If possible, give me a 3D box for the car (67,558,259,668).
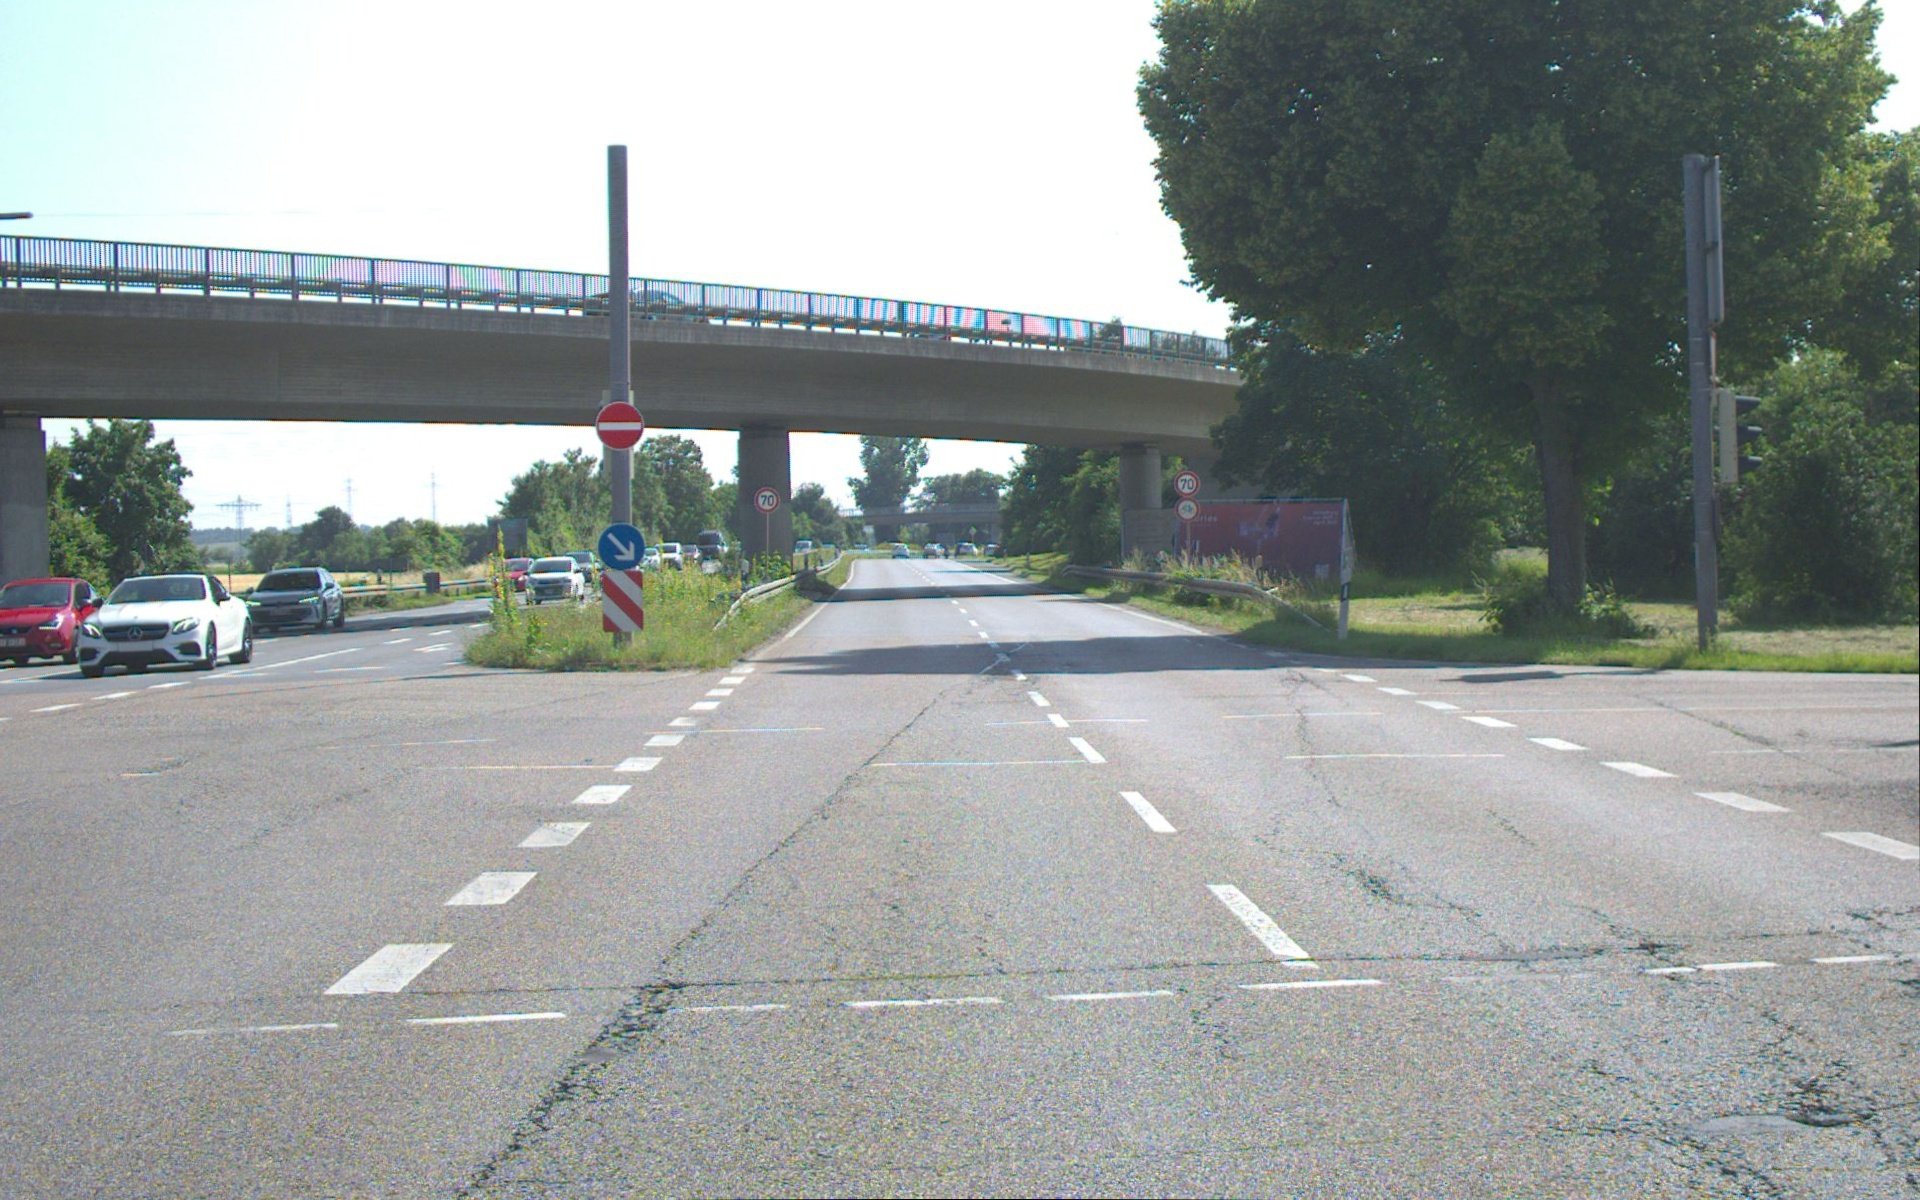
[{"bbox_3d":[-11.676,0.156,50.624,1.856,1.443,4.241,-3,1,-1],"label":"car"}]

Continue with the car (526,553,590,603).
[{"bbox_3d":[-12.835,-0.720,109.895,1.557,1.535,4.000,-2,1,-1],"label":"car"}]

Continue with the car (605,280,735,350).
[{"bbox_3d":[-7.229,-7.119,85.962,1.539,1.472,3.385,-2,0,30],"label":"car"}]

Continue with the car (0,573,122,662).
[{"bbox_3d":[-15.446,0.281,57.957,1.640,1.380,4.241,-2,1,-1],"label":"car"}]

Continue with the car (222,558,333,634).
[{"bbox_3d":[-15.562,-0.118,78.553,1.790,1.622,4.000,-2,1,-2],"label":"car"}]

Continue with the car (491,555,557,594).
[{"bbox_3d":[-18.904,-1.116,149.333,1.994,1.553,3.999,-2,1,5],"label":"car"}]

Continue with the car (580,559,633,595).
[{"bbox_3d":[-13.116,-0.868,127.819,1.557,1.254,4.000,-2,1,-1],"label":"car"}]
